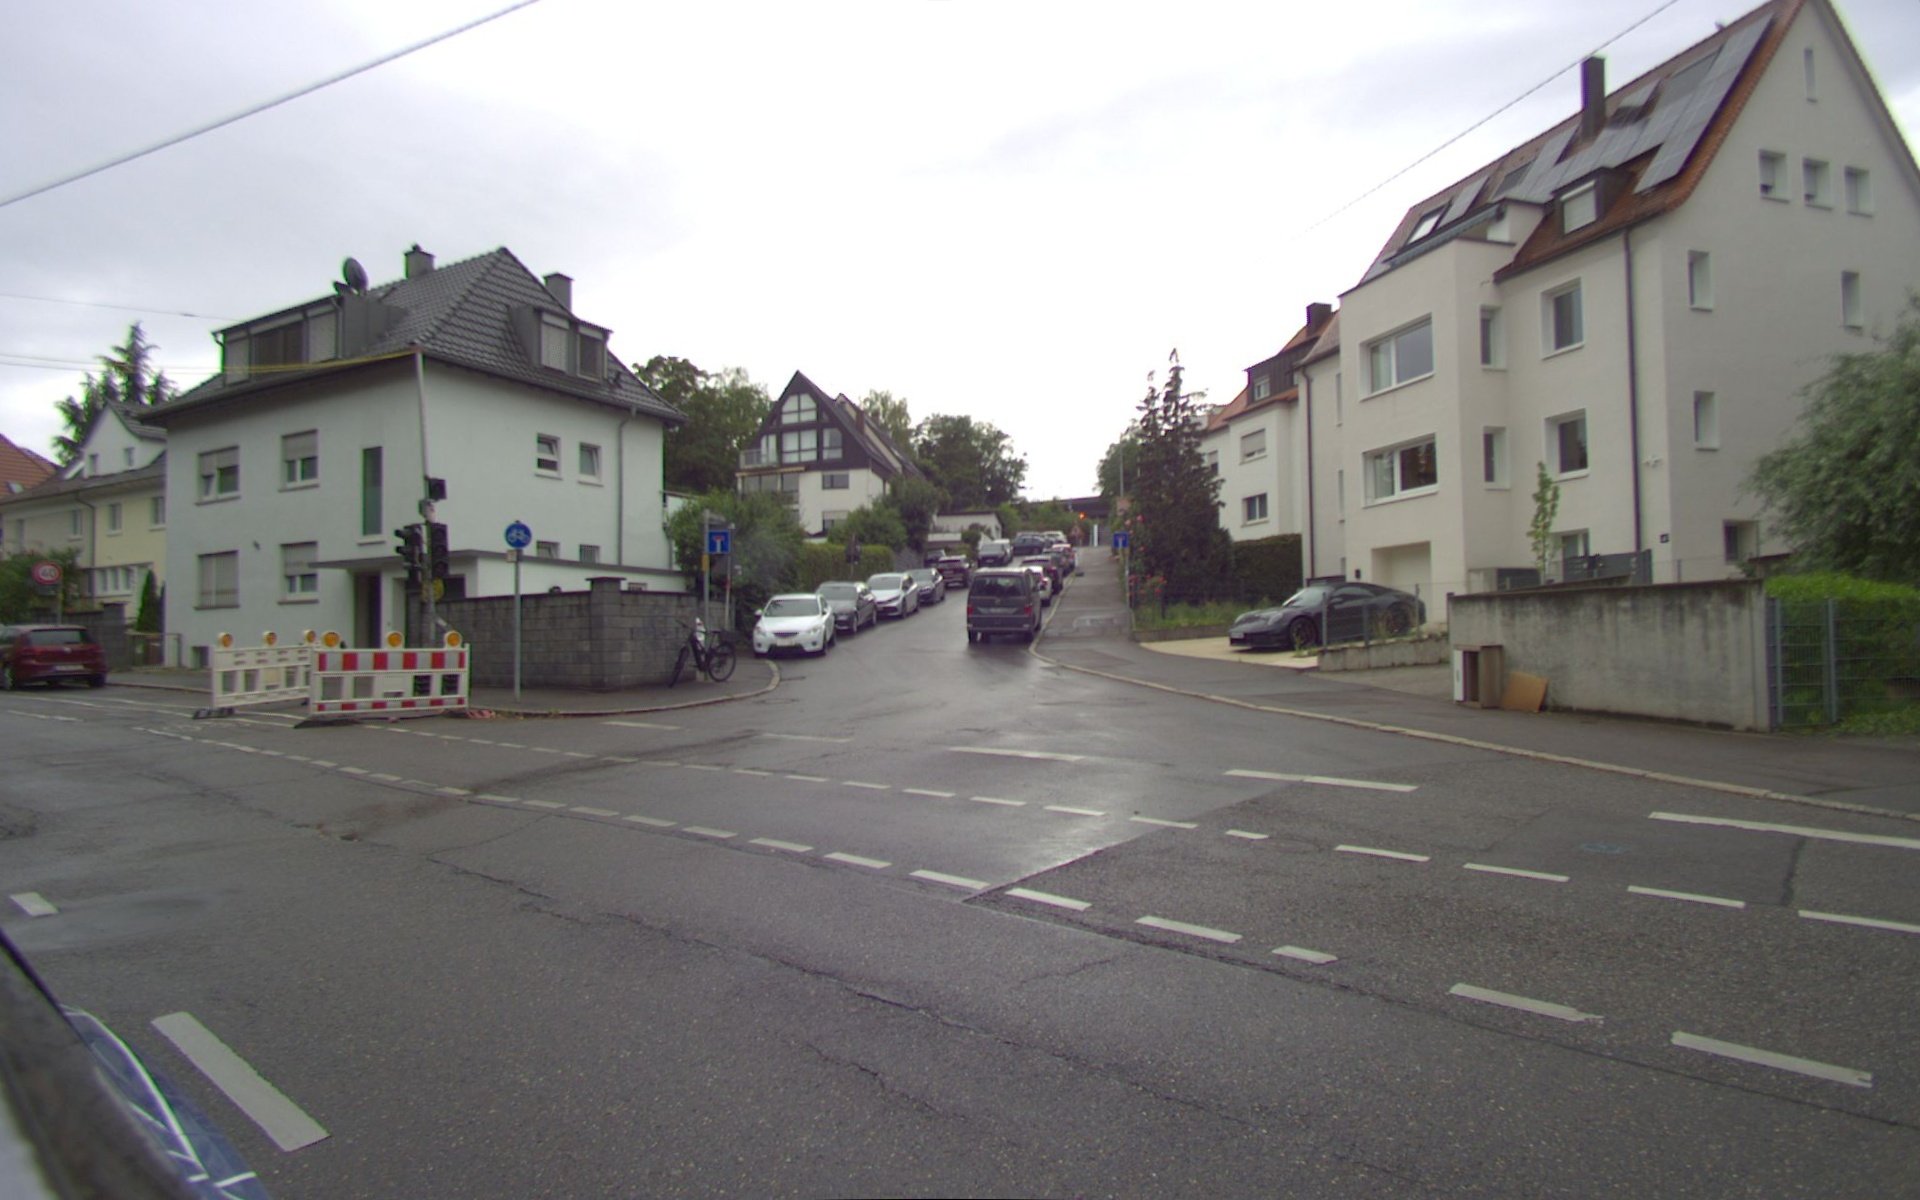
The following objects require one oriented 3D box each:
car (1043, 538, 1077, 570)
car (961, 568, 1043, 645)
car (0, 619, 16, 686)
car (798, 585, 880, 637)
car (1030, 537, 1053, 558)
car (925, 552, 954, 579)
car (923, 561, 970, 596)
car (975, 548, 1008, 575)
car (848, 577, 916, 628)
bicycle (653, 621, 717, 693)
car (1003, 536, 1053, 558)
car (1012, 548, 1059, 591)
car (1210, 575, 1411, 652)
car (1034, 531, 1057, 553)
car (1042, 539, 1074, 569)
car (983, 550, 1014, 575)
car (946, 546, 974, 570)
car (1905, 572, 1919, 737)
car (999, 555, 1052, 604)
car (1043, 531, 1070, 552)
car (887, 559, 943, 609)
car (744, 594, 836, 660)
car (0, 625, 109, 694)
[{"bbox_3d":[5.823,-2.707,58.474,1.847,1.758,3.992,0,4,8],"label":"car"},{"bbox_3d":[1.282,0.114,29.073,1.976,1.933,3.992,0,4,8],"label":"car"},{"bbox_3d":[-26.204,1.331,25.650,4.378,1.671,1.745,-2,-3,24],"label":"car"},{"bbox_3d":[-3.729,0.303,31.784,1.867,1.477,3.996,0,2,3],"label":"car"},{"bbox_3d":[7.136,-4.545,88.238,1.869,1.733,3.991,0,2,8],"label":"car"},{"bbox_3d":[-1.424,-2.311,68.120,1.863,1.733,4.003,0,2,-3],"label":"car"},{"bbox_3d":[-0.665,-1.131,52.087,1.869,1.733,3.991,0,2,8],"label":"car"},{"bbox_3d":[2.141,-2.548,67.995,1.869,1.733,3.991,0,2,8],"label":"car"},{"bbox_3d":[-2.785,0.027,36.909,1.867,1.733,3.994,0,2,5],"label":"car"},{"bbox_3d":[-4.854,0.984,17.965,0.459,1.132,1.513,0,2,11],"label":"bicycle"},{"bbox_3d":[5.655,-4.370,83.742,3.956,1.733,1.886,0,1,10],"label":"car"},{"bbox_3d":[3.424,-1.400,45.387,1.847,1.758,3.992,0,4,8],"label":"car"},{"bbox_3d":[7.544,0.279,21.893,3.754,1.519,1.740,-1,0,-16],"label":"car"},{"bbox_3d":[8.345,-5.633,98.280,1.977,2.028,3.989,0,2,9],"label":"car"},{"bbox_3d":[6.126,-2.902,62.955,1.847,1.758,3.992,0,4,8],"label":"car"},{"bbox_3d":[2.864,-2.727,74.319,1.869,1.733,3.991,0,2,8],"label":"car"},{"bbox_3d":[-0.028,-3.051,74.184,1.863,1.733,4.003,0,2,-3],"label":"car"},{"bbox_3d":[10.587,0.422,8.547,3.934,1.454,1.844,-1,-1,-12],"label":"car"},{"bbox_3d":[2.633,-0.856,40.106,1.847,1.758,3.992,0,4,8],"label":"car"},{"bbox_3d":[9.993,-5.985,104.483,1.983,2.028,3.977,0,2,18],"label":"car"},{"bbox_3d":[-1.856,-0.695,42.763,1.867,2.007,3.994,0,2,5],"label":"car"},{"bbox_3d":[-4.266,0.629,26.007,1.863,1.477,4.003,0,2,-3],"label":"car"},{"bbox_3d":[-21.590,1.342,23.336,4.211,1.451,1.606,-2,-2,29],"label":"car"}]
